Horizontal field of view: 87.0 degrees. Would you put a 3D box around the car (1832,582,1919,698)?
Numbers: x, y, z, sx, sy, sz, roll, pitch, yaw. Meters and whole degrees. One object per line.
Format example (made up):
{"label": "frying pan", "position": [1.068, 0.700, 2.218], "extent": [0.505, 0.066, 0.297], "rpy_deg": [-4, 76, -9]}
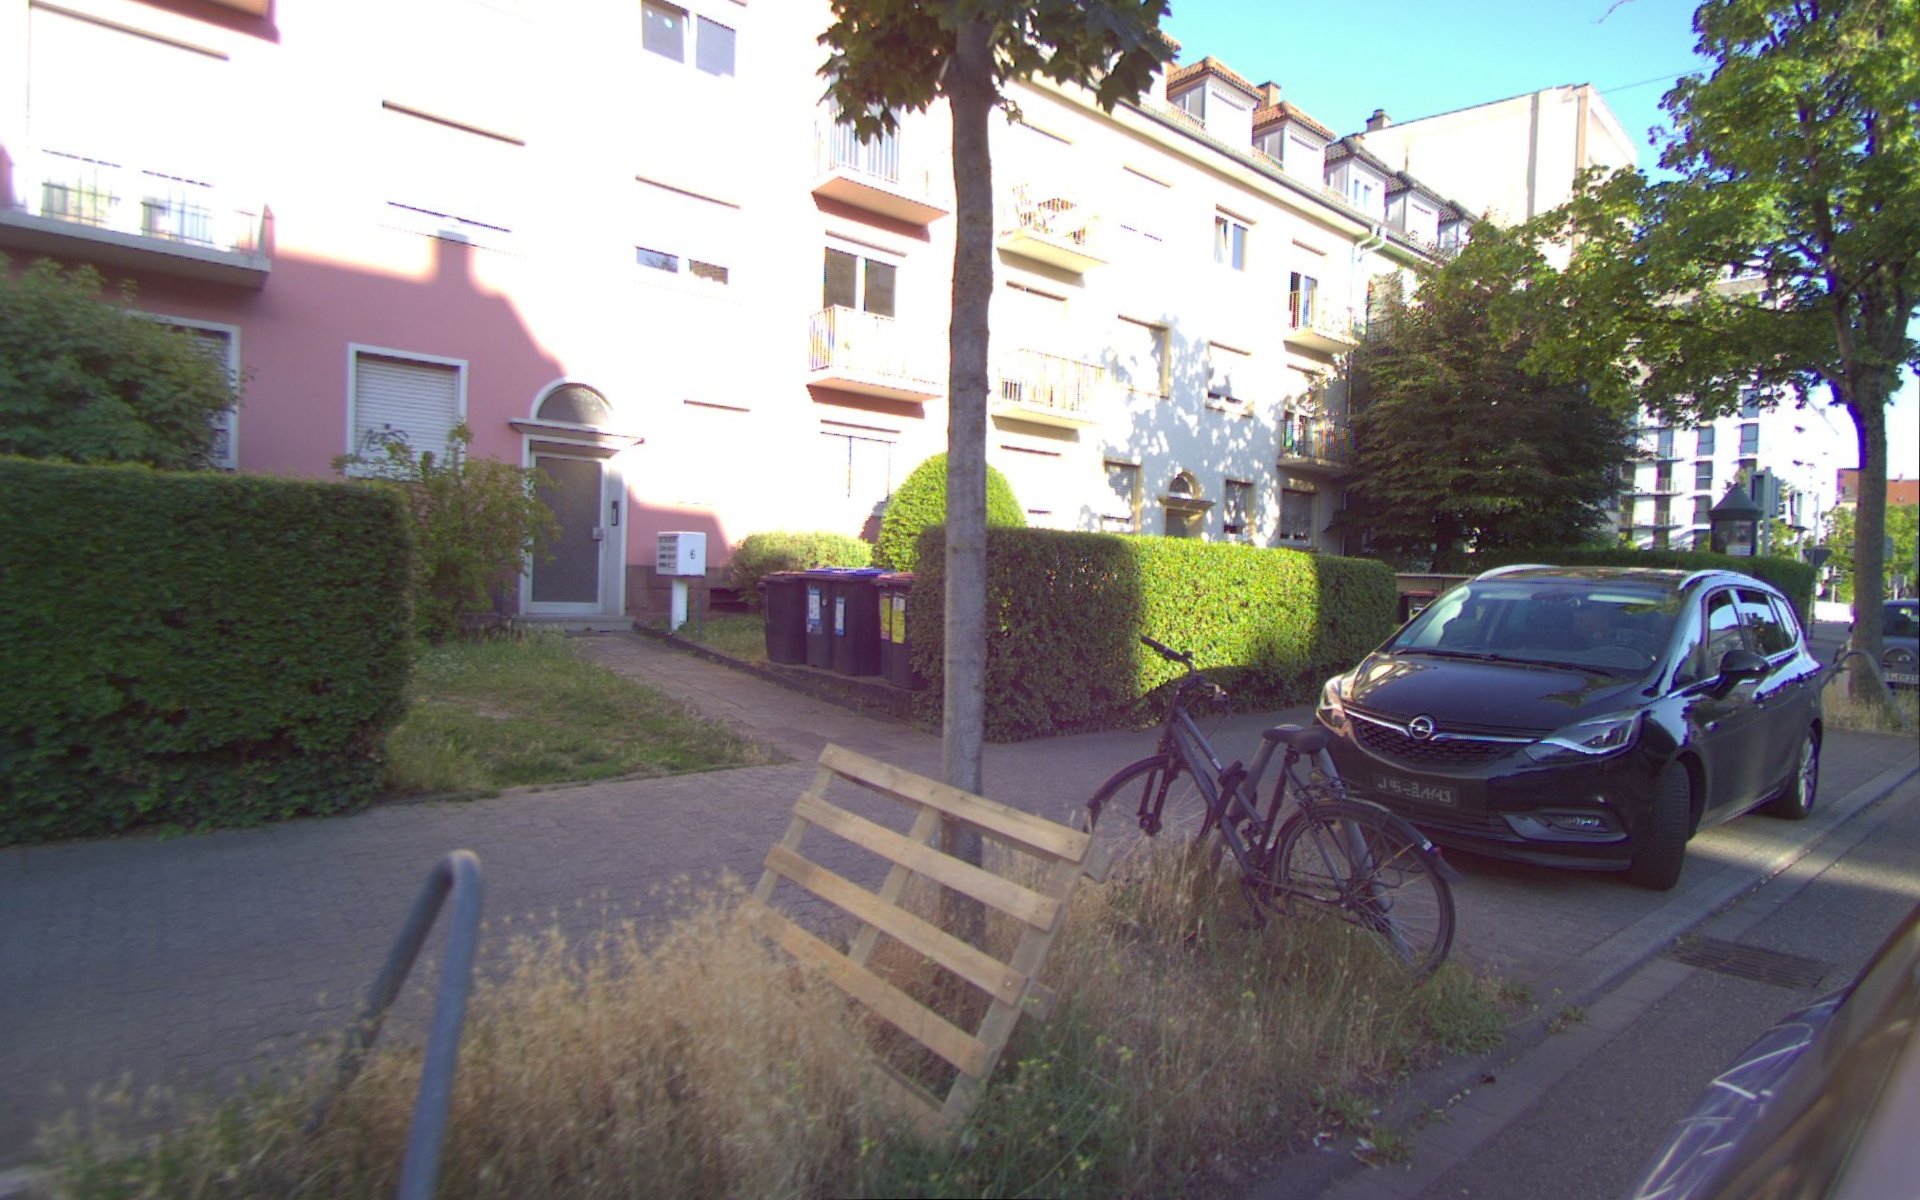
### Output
{"label": "car", "position": [14.550, 0.572, 15.098], "extent": [3.581, 1.570, 1.736], "rpy_deg": [1, 2, -40]}

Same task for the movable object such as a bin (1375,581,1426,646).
{"label": "movable object such as a bin", "position": [8.472, 0.247, 19.459], "extent": [0.813, 1.209, 0.554], "rpy_deg": [1, 1, -40]}

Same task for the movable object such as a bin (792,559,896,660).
{"label": "movable object such as a bin", "position": [-1.250, 0.089, 10.869], "extent": [0.782, 1.015, 0.778], "rpy_deg": [1, 1, -40]}

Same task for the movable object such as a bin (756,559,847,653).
{"label": "movable object such as a bin", "position": [-1.777, 0.059, 11.369], "extent": [0.782, 1.015, 0.612], "rpy_deg": [1, 1, -40]}

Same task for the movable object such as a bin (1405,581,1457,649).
{"label": "movable object such as a bin", "position": [8.832, 0.275, 18.983], "extent": [0.813, 1.217, 0.554], "rpy_deg": [1, 1, -40]}

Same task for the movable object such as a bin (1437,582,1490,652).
{"label": "movable object such as a bin", "position": [9.201, 0.309, 18.504], "extent": [0.813, 1.236, 0.554], "rpy_deg": [1, 1, -40]}

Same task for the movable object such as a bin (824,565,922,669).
{"label": "movable object such as a bin", "position": [-0.894, 0.164, 10.403], "extent": [0.782, 1.015, 0.583], "rpy_deg": [1, 1, -40]}

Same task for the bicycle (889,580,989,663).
{"label": "bicycle", "position": [-0.259, 0.220, 11.540], "extent": [0.362, 0.864, 1.374], "rpy_deg": [1, 1, -38]}

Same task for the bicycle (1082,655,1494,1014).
{"label": "bicycle", "position": [1.235, 0.818, 3.999], "extent": [1.474, 1.072, 0.406], "rpy_deg": [3, 1, 38]}

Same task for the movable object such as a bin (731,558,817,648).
{"label": "movable object such as a bin", "position": [-2.210, 0.028, 12.012], "extent": [0.782, 1.015, 0.612], "rpy_deg": [1, 1, -40]}

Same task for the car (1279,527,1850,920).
{"label": "car", "position": [3.968, 0.511, 6.328], "extent": [4.214, 1.671, 1.736], "rpy_deg": [1, 2, -40]}
